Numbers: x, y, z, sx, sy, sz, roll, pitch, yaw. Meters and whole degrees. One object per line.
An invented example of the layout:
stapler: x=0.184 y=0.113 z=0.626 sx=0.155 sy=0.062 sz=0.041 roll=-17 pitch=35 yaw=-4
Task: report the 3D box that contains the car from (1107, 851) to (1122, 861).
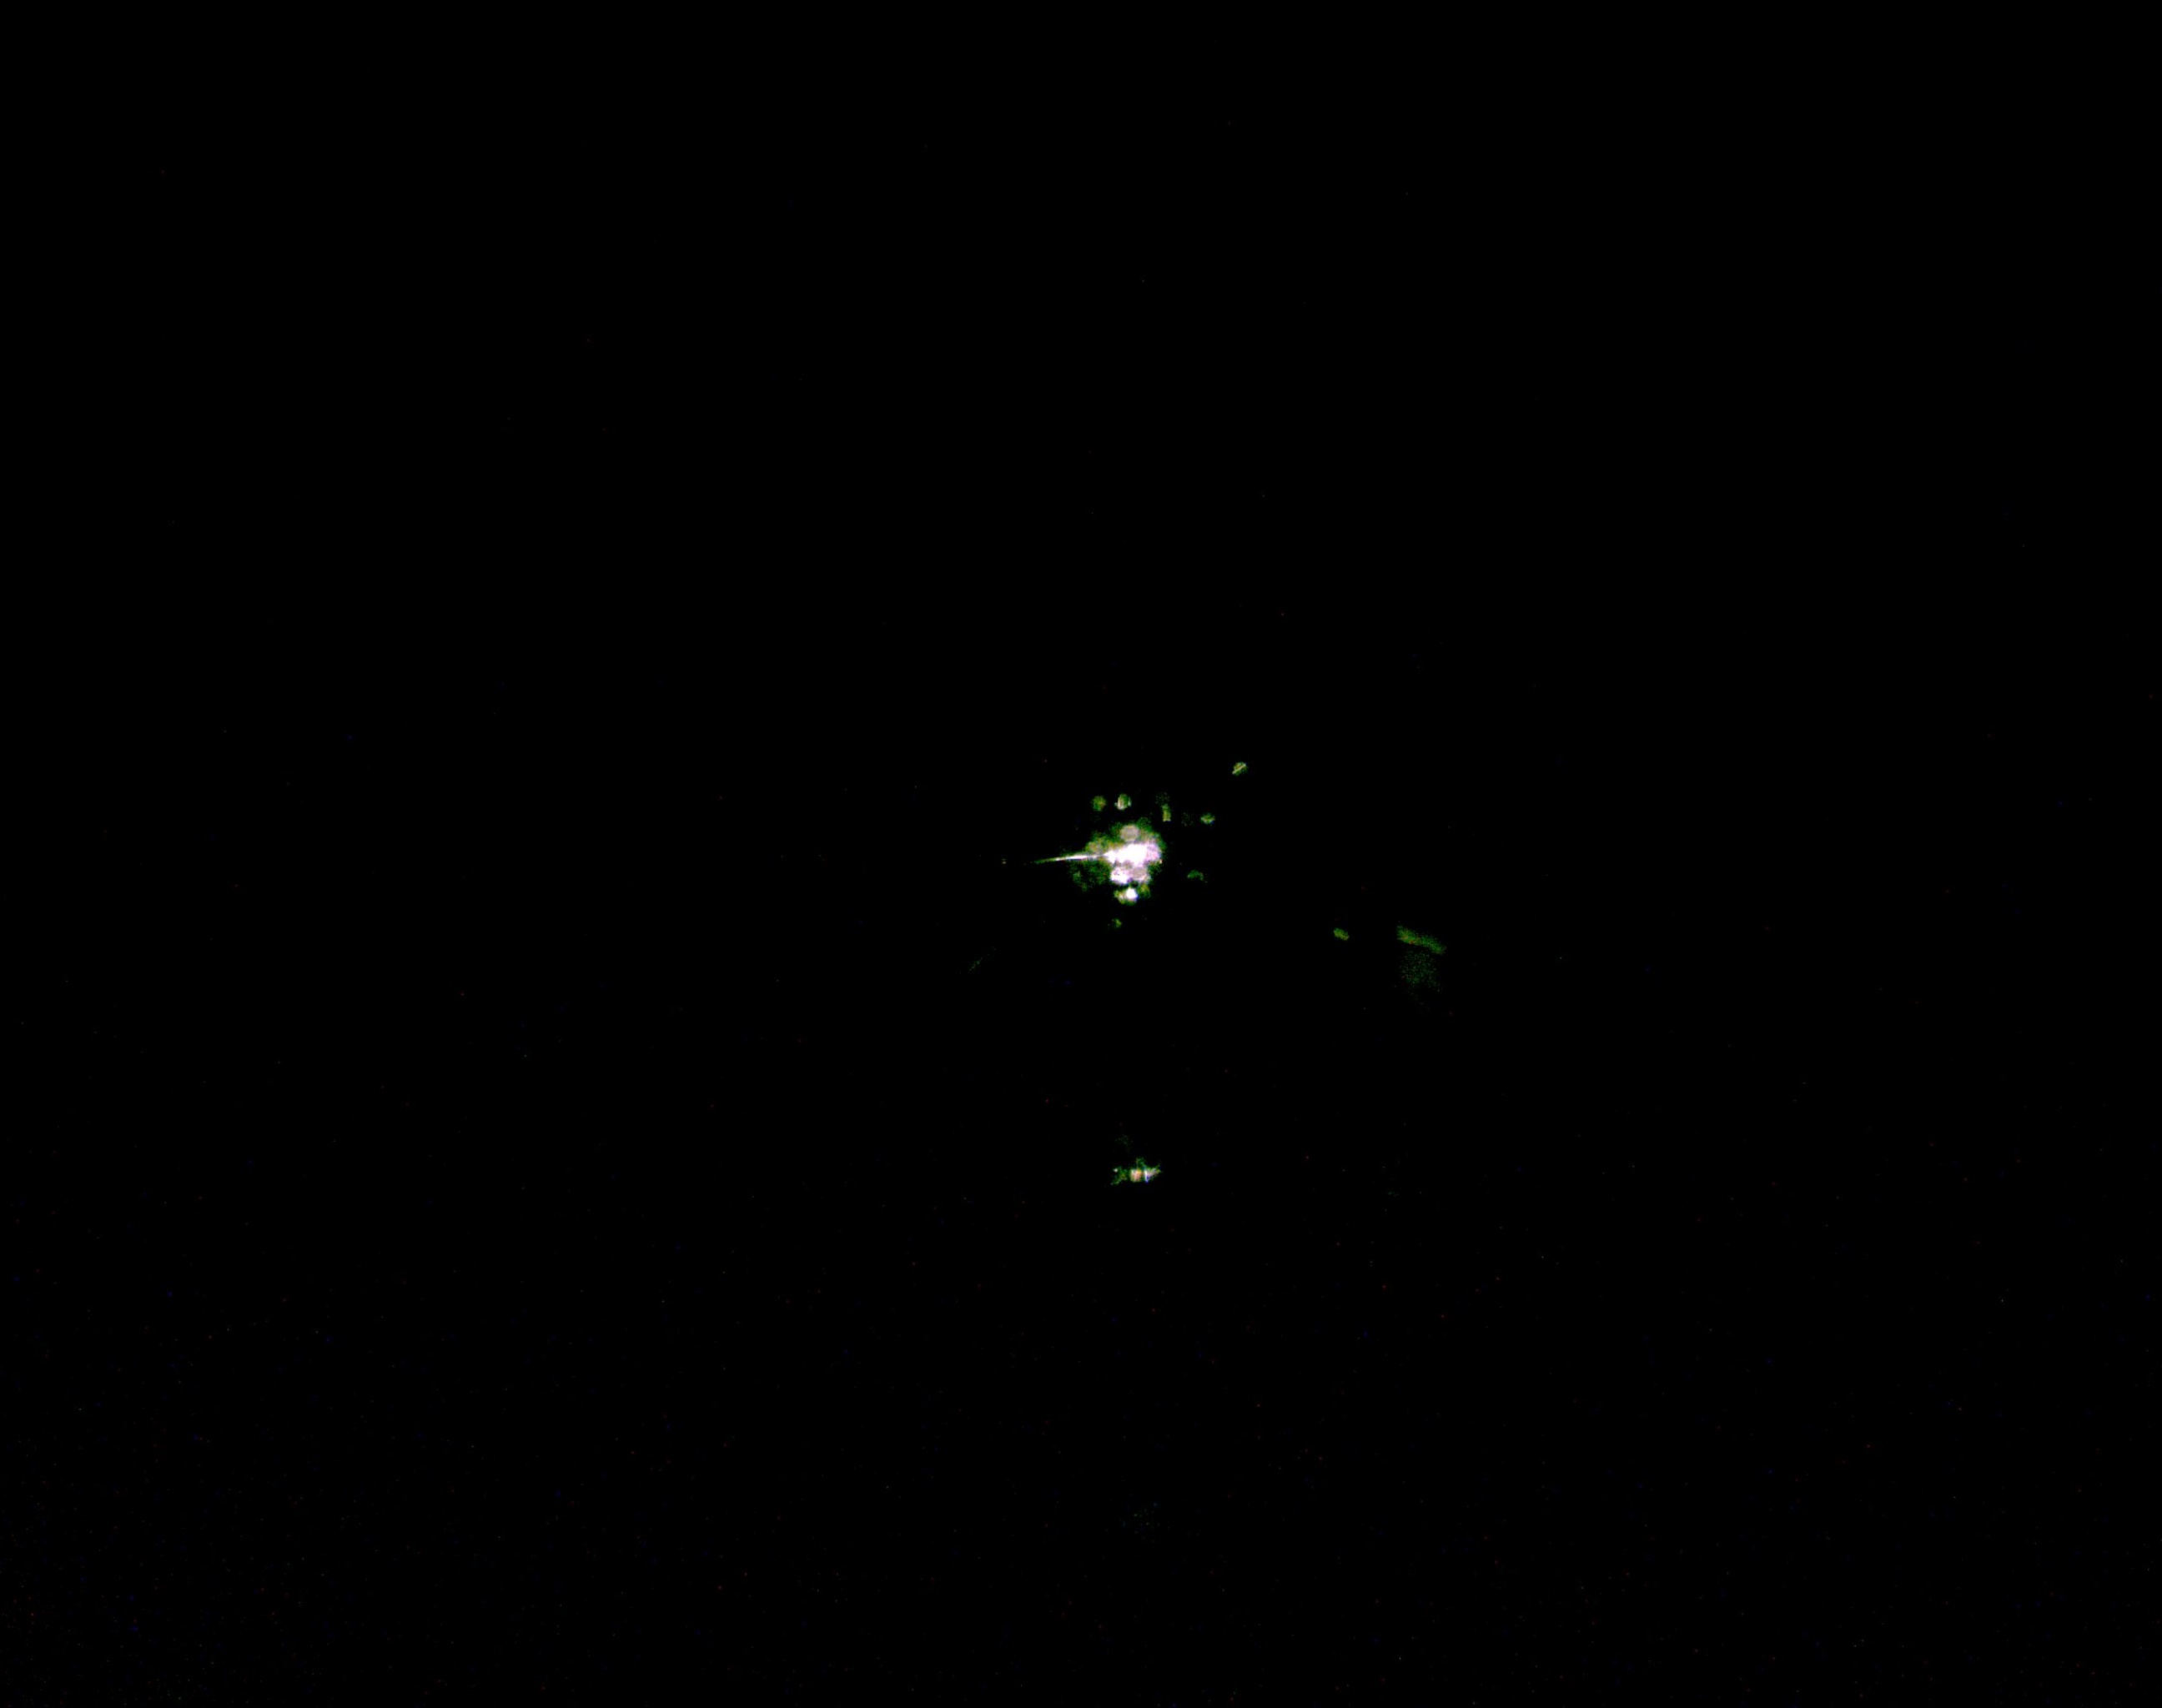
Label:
car: x=4.874 y=0.212 z=117.511 sx=1.984 sy=1.391 sz=3.850 roll=-1 pitch=0 yaw=4
